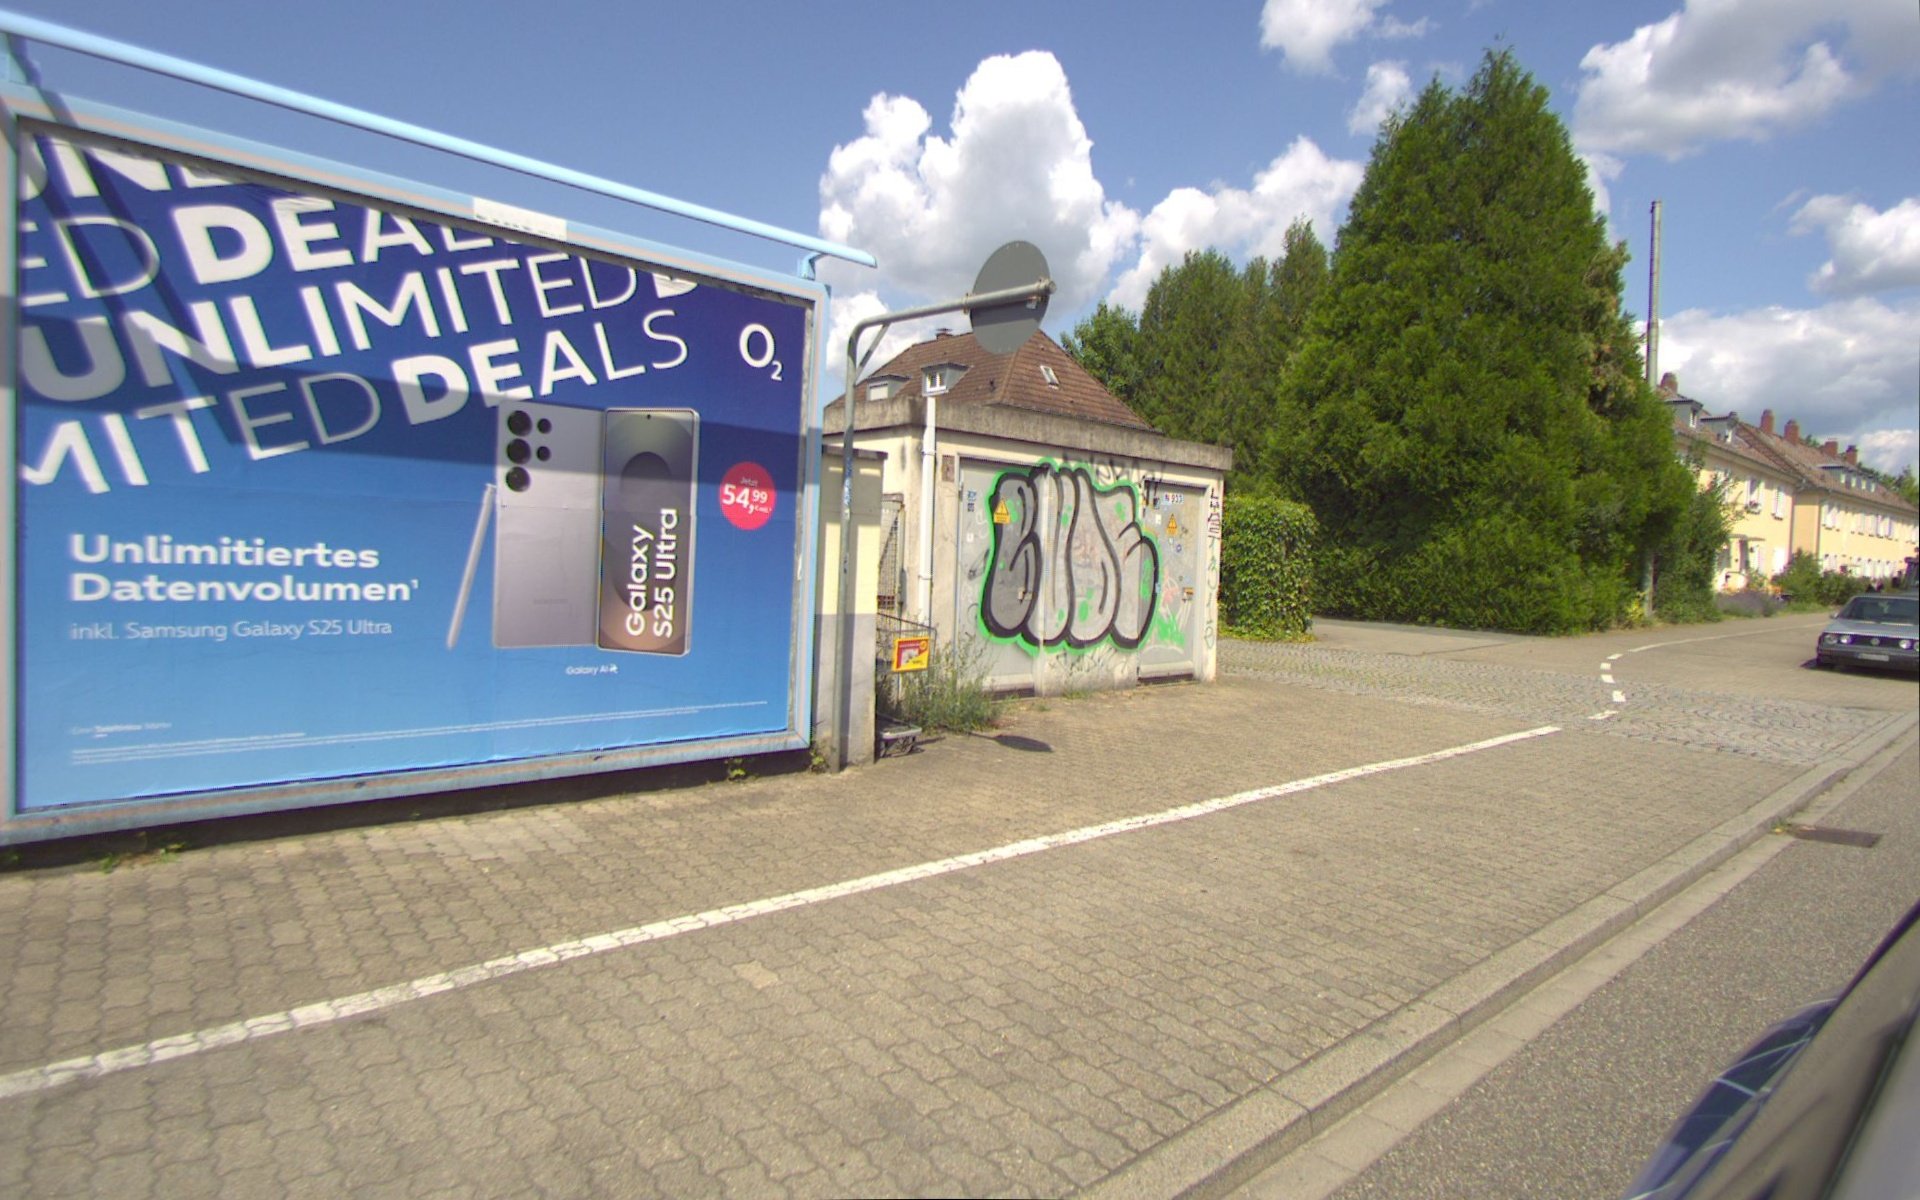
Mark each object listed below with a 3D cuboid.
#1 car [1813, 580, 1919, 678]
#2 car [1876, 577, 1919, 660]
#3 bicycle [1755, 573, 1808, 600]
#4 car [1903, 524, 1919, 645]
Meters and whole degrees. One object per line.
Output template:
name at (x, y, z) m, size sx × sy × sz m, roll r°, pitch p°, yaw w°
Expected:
car at (16.254, 0.433, 17.436) m, size 4.024 × 1.448 × 1.656 m, roll -1°, pitch 4°, yaw -40°
car at (20.047, 0.345, 20.595) m, size 4.283 × 1.534 × 1.694 m, roll -2°, pitch 4°, yaw -43°
bicycle at (35.355, -0.599, 43.573) m, size 0.285 × 1.116 × 1.693 m, roll 0°, pitch 2°, yaw -40°
car at (24.569, -0.334, 24.422) m, size 4.793 × 2.794 × 2.000 m, roll -1°, pitch 4°, yaw -41°
